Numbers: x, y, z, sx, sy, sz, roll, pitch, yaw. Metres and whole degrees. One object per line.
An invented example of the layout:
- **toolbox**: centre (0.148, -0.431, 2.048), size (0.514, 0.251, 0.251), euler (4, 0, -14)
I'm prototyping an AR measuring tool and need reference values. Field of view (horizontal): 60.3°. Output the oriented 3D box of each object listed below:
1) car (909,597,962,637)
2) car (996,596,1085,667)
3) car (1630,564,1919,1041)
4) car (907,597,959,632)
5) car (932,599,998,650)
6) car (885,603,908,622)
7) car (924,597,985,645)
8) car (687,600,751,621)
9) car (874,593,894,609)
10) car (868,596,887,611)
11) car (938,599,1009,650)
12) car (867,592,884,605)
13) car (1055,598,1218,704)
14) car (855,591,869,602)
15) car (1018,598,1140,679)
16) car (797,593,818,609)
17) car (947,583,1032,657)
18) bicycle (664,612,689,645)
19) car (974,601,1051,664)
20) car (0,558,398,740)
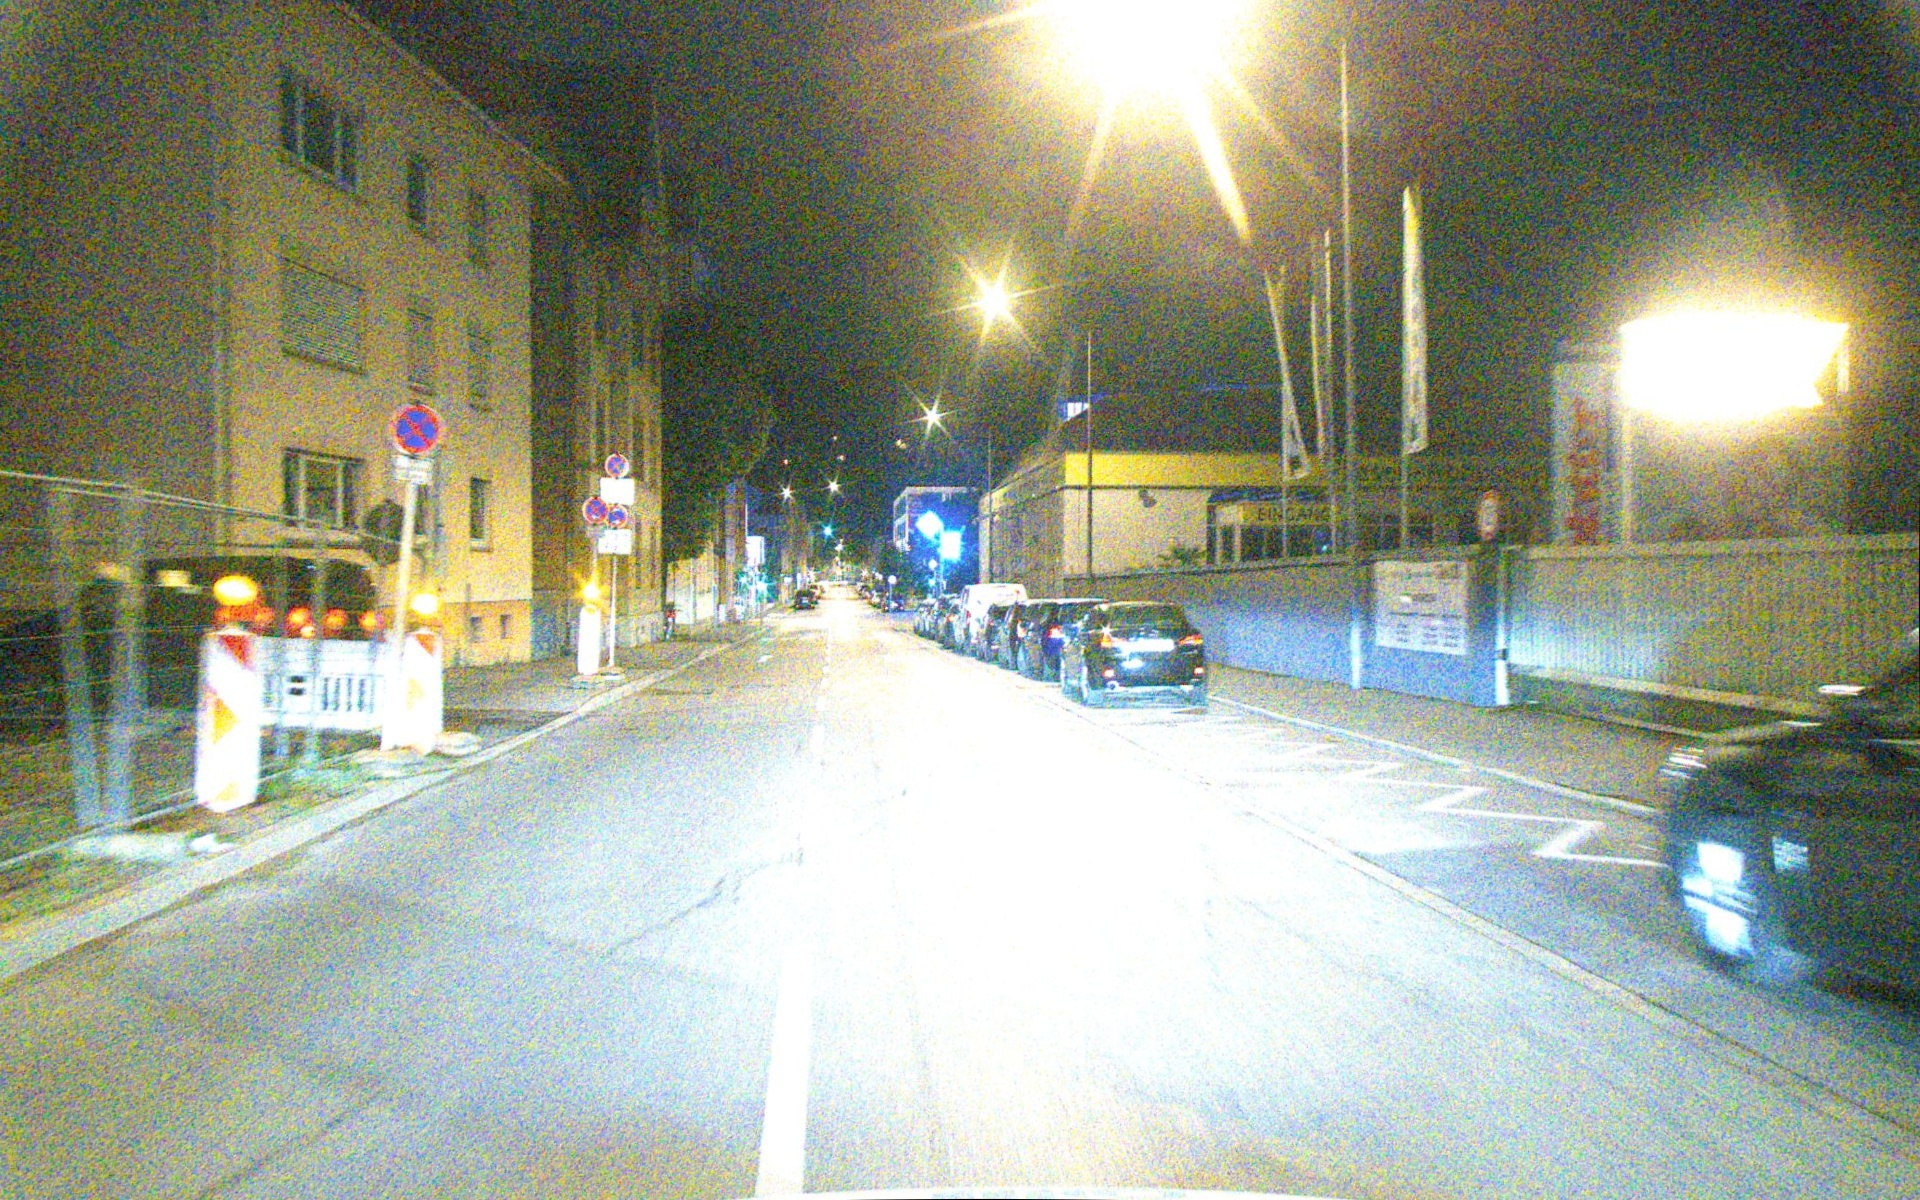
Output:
- **car**: centre (-1.036, 0.685, 67.655), size (1.741, 1.571, 4.539), euler (0, 0, -7)
- **car**: centre (1.750, 0.682, 36.848), size (1.563, 1.492, 3.716), euler (0, 0, -4)
- **car**: centre (4.192, 0.659, 5.499), size (1.785, 1.627, 4.214), euler (-3, 0, -7)
- **car**: centre (-1.228, 0.640, 73.070), size (1.824, 1.515, 4.539), euler (0, 0, -7)
- **car**: centre (0.120, 0.794, 56.803), size (1.788, 1.616, 4.623), euler (-1, 1, -6)
- **car**: centre (-5.458, 1.067, 141.488), size (1.954, 1.543, 3.998), euler (1, 0, -3)
- **car**: centre (-0.236, 0.762, 62.151), size (1.788, 1.651, 4.451), euler (-1, 1, -6)
- **car**: centre (-16.989, 0.758, 116.638), size (4.352, 1.475, 1.998), euler (0, -1, -5)
- **car**: centre (-7.629, 0.110, 165.273), size (1.954, 1.546, 3.998), euler (0, 0, -3)
- **car**: centre (-8.556, 0.413, 172.247), size (1.954, 1.546, 3.998), euler (0, 0, -3)
- **car**: centre (0.387, 0.727, 51.733), size (1.781, 1.452, 4.184), euler (-2, 0, -5)
- **car**: centre (-9.685, -0.165, 189.807), size (1.954, 1.546, 3.998), euler (0, 0, -3)
- **car**: centre (2.557, 0.720, 24.960), size (1.743, 1.451, 4.477), euler (0, 0, -3)
- **car**: centre (-14.015, -0.511, 237.179), size (1.954, 1.546, 3.998), euler (0, 0, -3)
- **car**: centre (2.210, 0.713, 31.731), size (1.744, 1.451, 3.887), euler (0, 0, -5)
- **car**: centre (-14.691, 0.137, 159.124), size (1.954, 1.528, 3.996), euler (0, 0, -4)
- **car**: centre (0.767, 0.524, 46.967), size (1.766, 1.907, 4.767), euler (-2, 1, -6)
- **bicycle**: centre (-9.164, 0.911, 53.549), size (0.607, 1.070, 1.720), euler (0, 0, -4)
- **car**: centre (1.279, 0.796, 41.498), size (1.563, 1.492, 3.888), euler (0, 0, -4)
- **car**: centre (-8.646, 0.527, 18.695), size (3.902, 1.922, 1.910), euler (0, -1, 8)
